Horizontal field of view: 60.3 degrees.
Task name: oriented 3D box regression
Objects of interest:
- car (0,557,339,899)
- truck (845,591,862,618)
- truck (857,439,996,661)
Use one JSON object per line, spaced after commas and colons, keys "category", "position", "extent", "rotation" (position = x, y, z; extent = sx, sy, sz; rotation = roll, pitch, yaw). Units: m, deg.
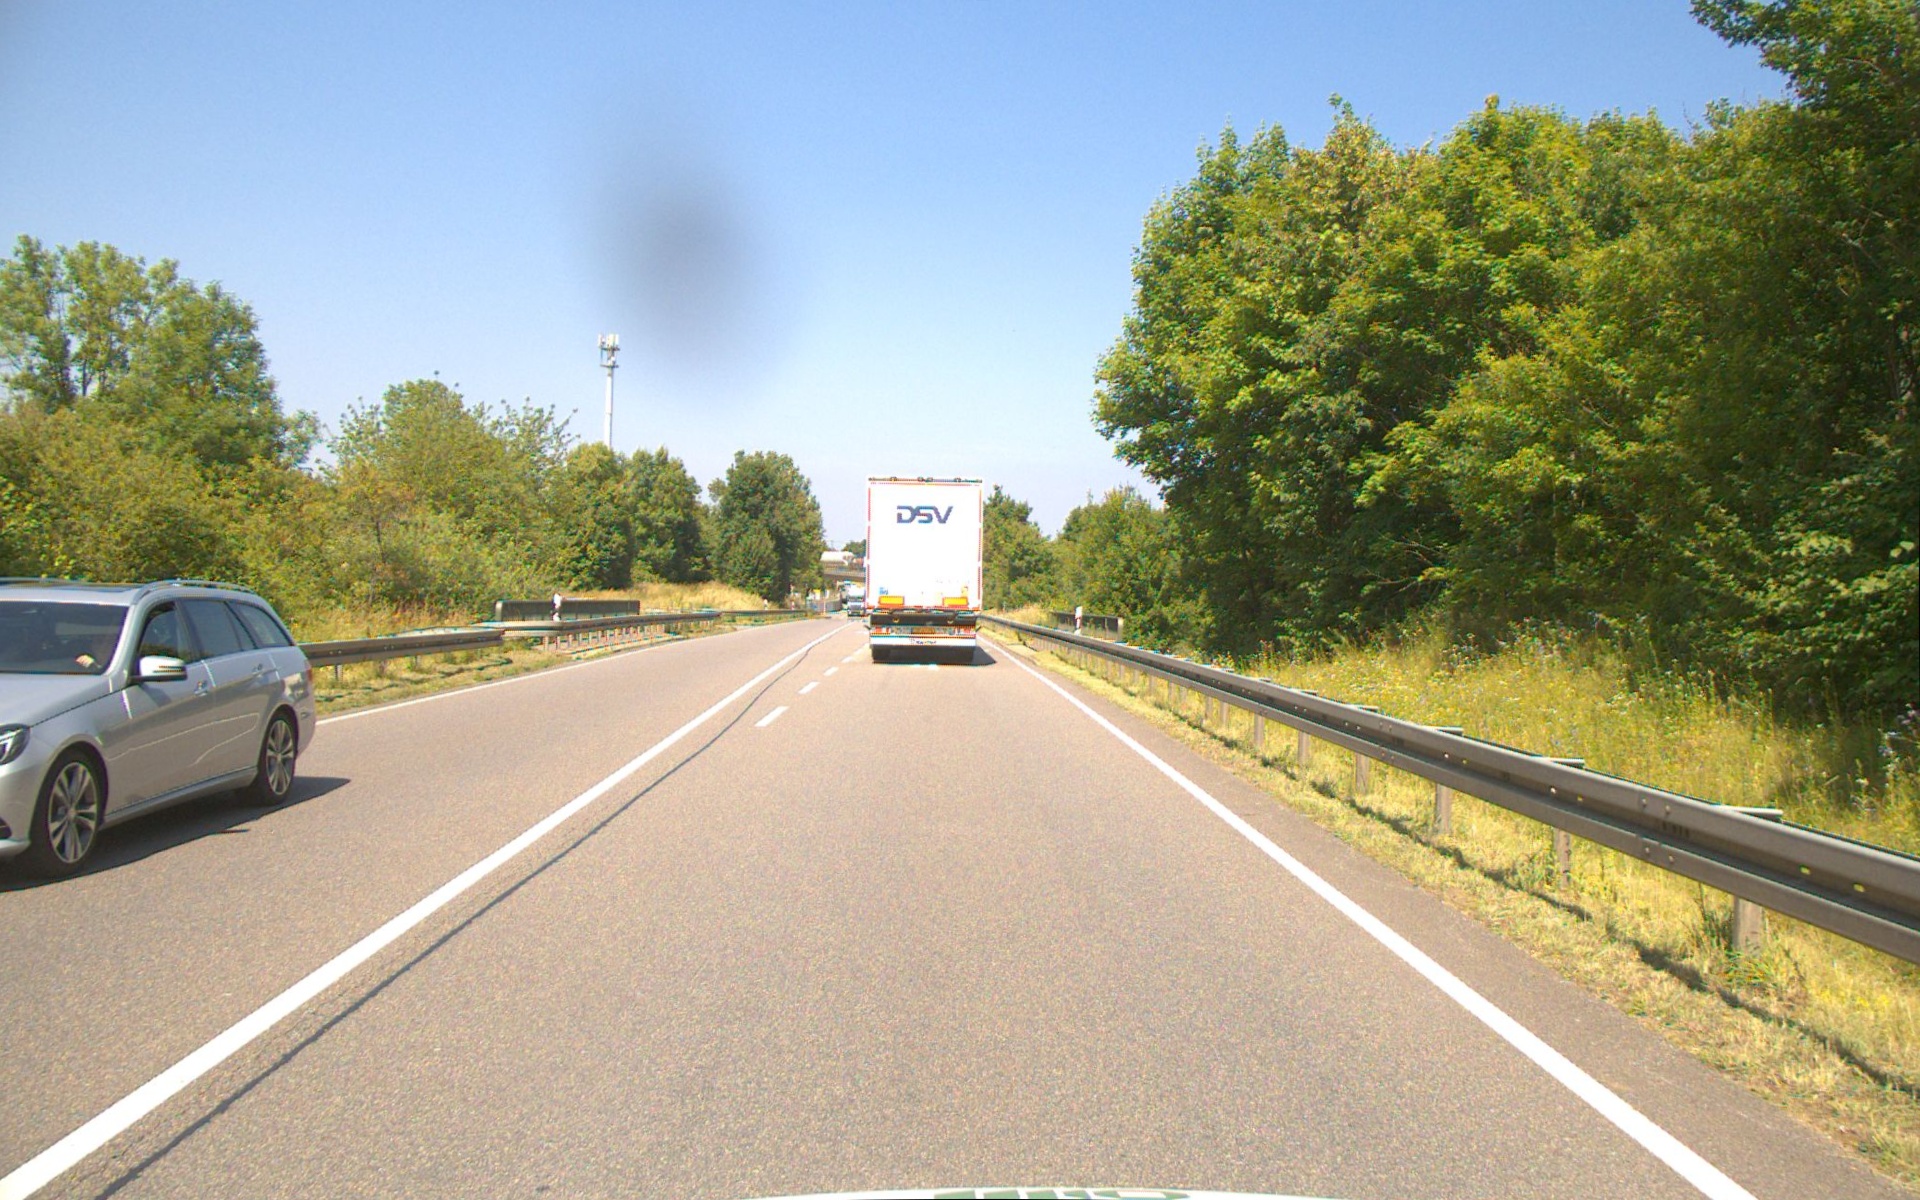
{"category": "car", "position": [-5.369, 0.577, 9.827], "extent": [1.781, 1.573, 4.525], "rotation": [1, 0, -2]}
{"category": "truck", "position": [-15.710, 0.614, 244.741], "extent": [2.306, 3.815, 12.618], "rotation": [1, 0, -2]}
{"category": "truck", "position": [-0.805, -1.006, 39.914], "extent": [2.890, 4.649, 9.859], "rotation": [1, -1, -1]}
